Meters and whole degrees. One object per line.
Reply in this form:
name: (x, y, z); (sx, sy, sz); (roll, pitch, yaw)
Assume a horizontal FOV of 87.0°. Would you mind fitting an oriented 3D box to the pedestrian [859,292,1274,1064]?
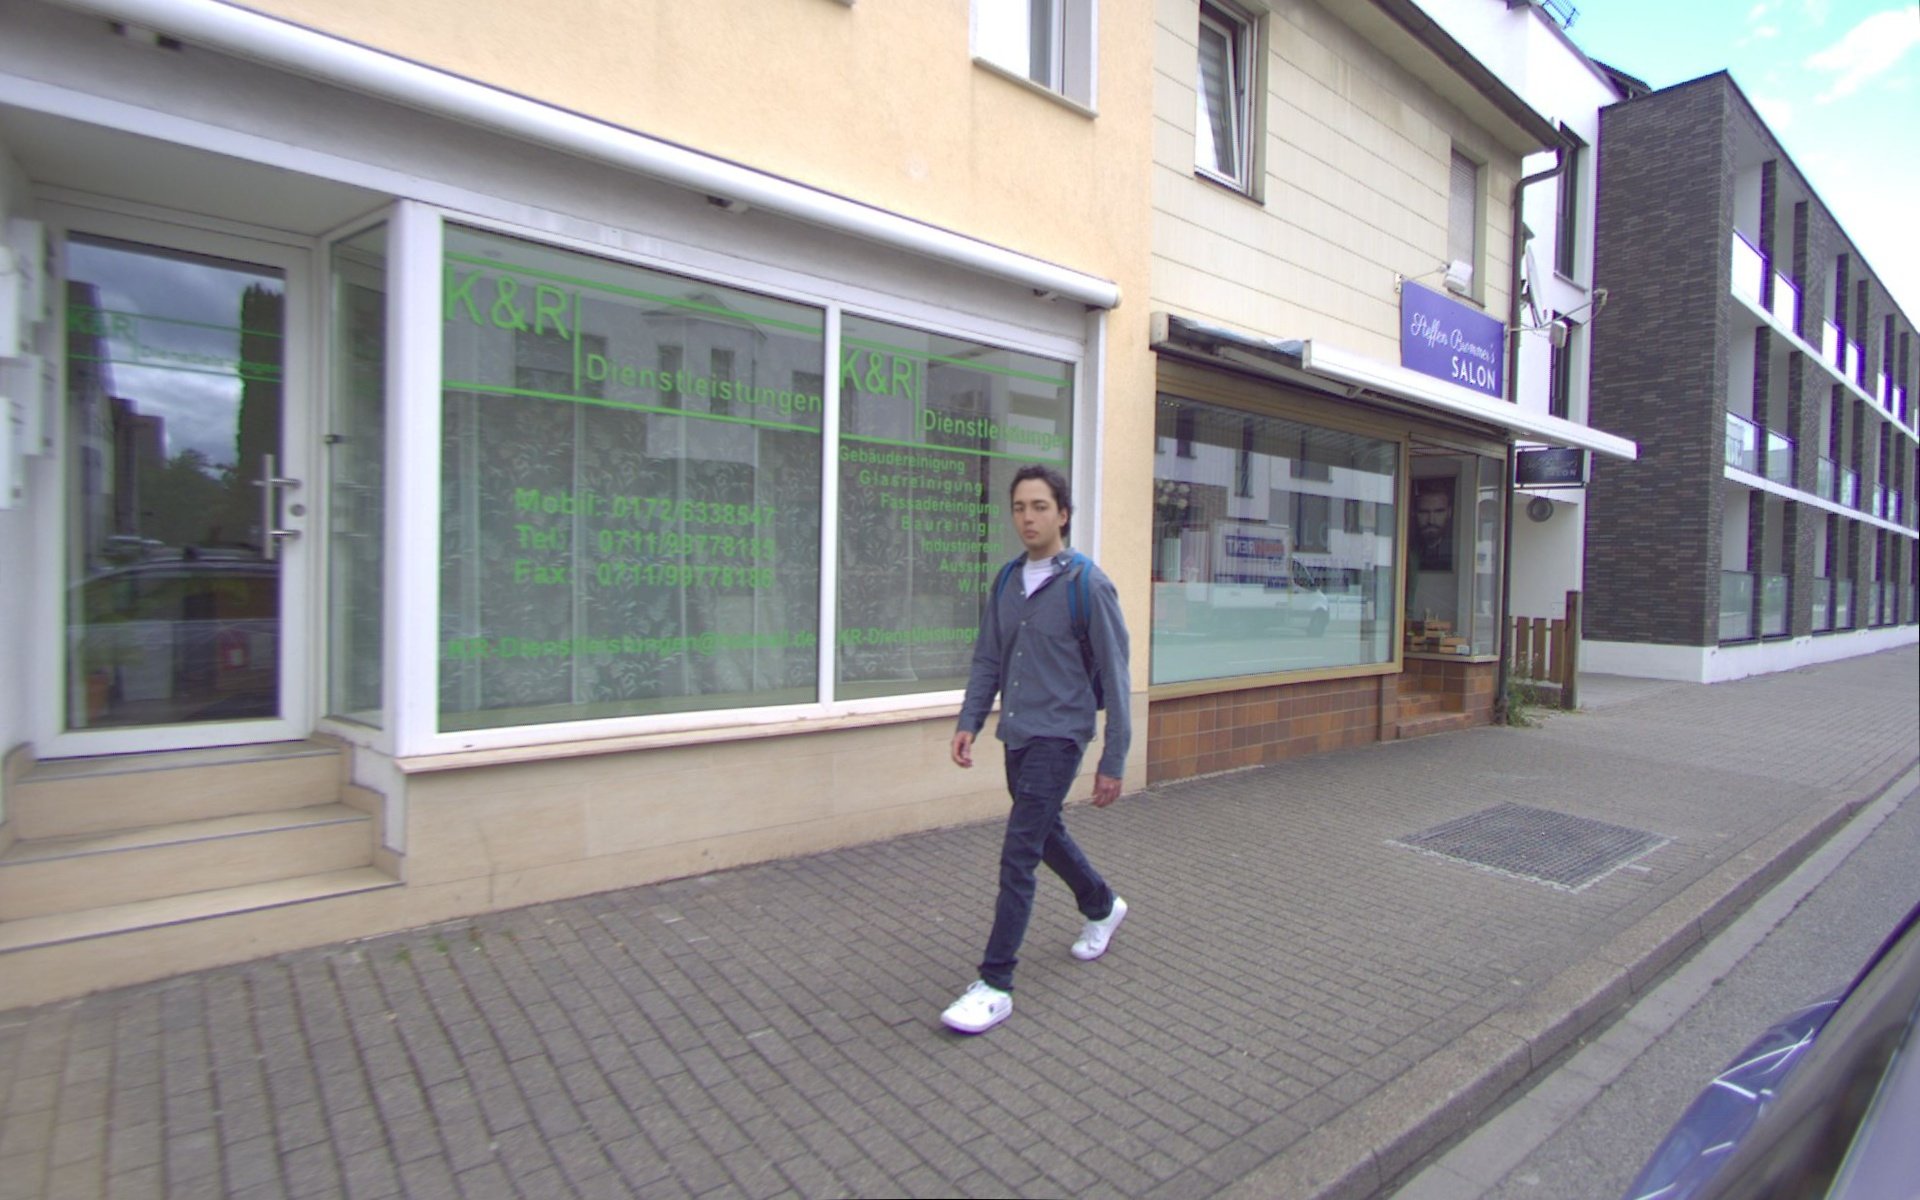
pedestrian: (0.338, 0.196, 3.367); (0.992, 2.099, 0.826); (0, 4, -38)
